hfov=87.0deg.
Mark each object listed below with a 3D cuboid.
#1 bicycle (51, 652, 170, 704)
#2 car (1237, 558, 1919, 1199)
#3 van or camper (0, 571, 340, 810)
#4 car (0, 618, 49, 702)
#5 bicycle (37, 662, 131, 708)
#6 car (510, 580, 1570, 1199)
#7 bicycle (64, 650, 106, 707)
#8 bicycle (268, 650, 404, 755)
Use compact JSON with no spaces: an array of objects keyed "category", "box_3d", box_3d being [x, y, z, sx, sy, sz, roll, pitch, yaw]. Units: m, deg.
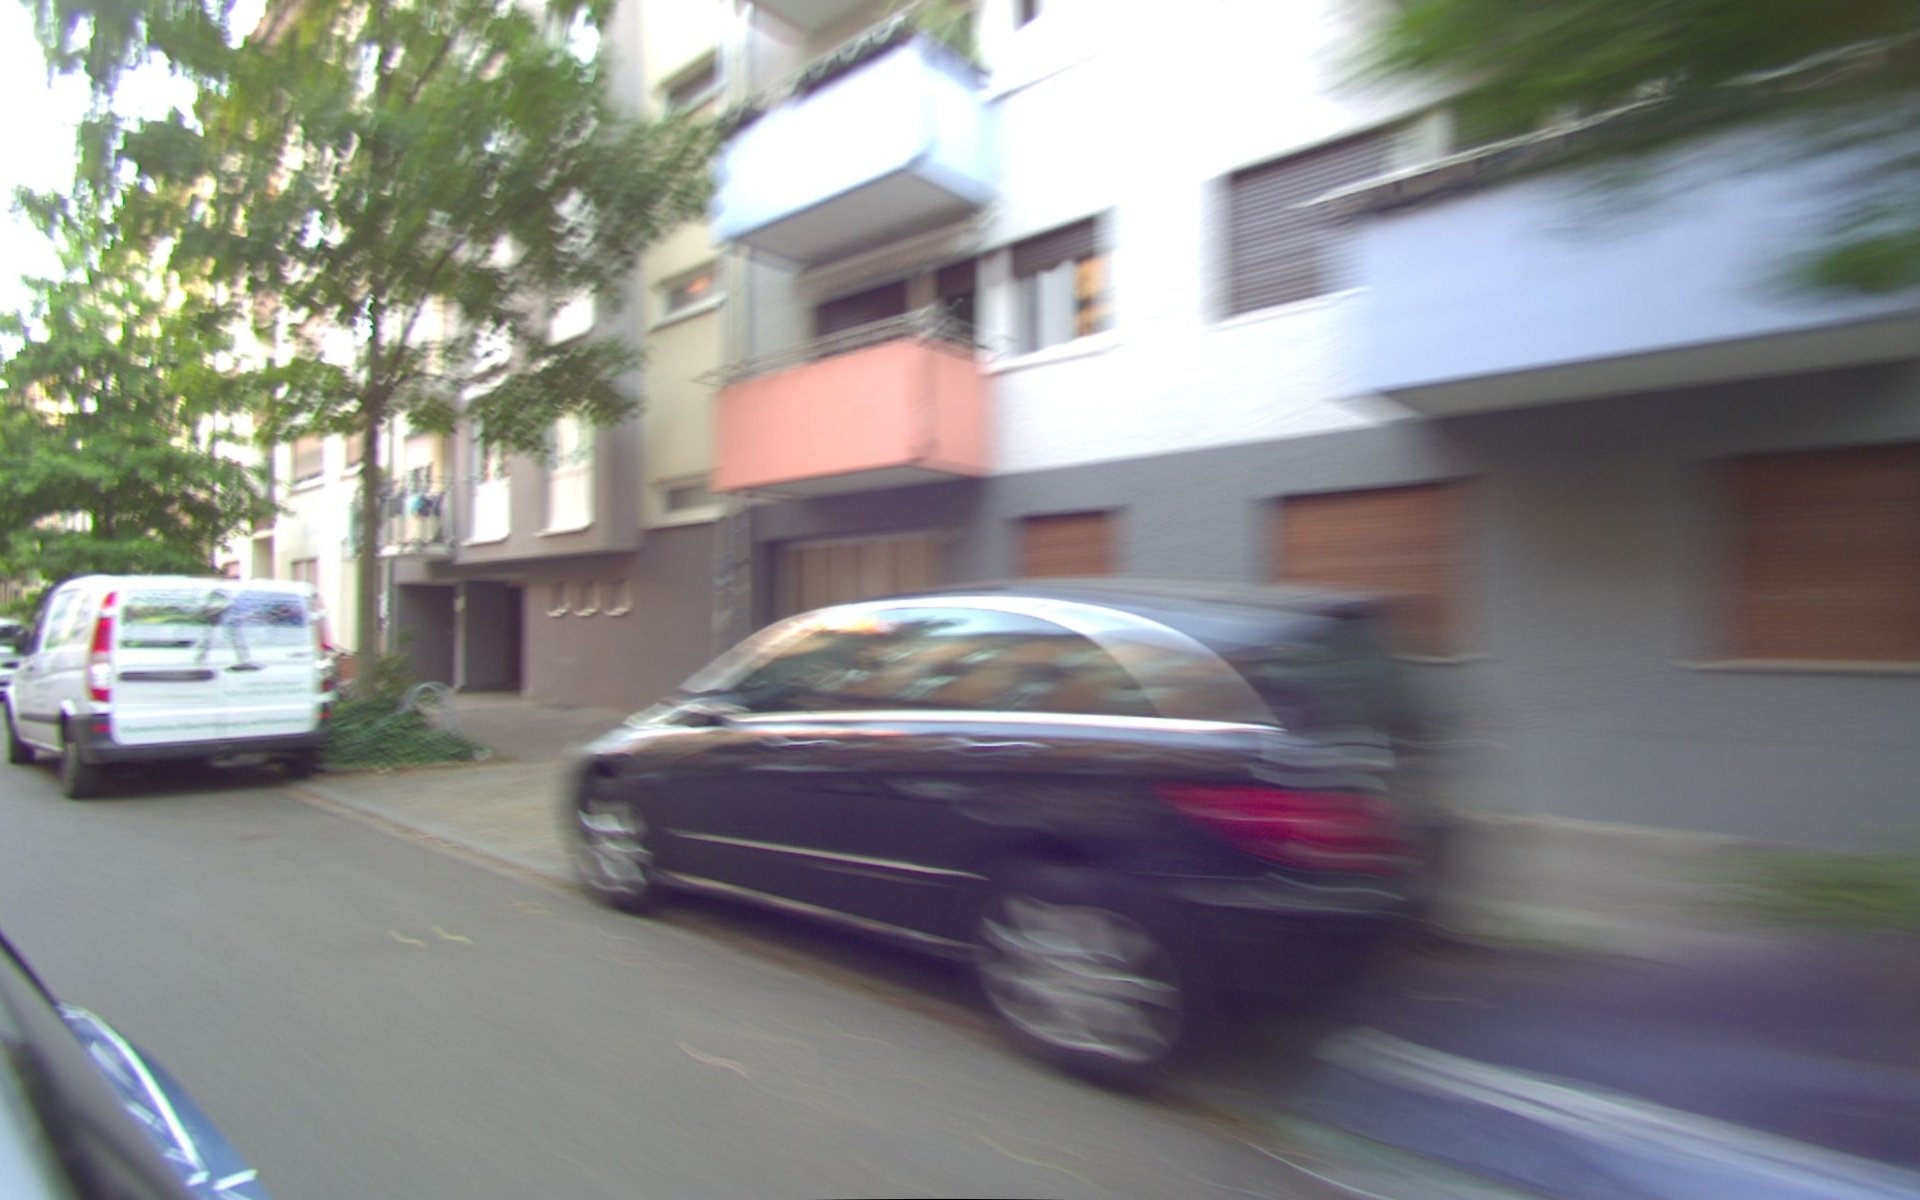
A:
[{"category":"bicycle","box_3d":[-16.895,1.538,20.173,1.702,1.002,0.578,1,-3,-15]},{"category":"car","box_3d":[2.611,0.724,0.378,4.513,1.529,1.811,-1,-3,41]},{"category":"van or camper","box_3d":[-8.146,0.803,10.121,4.748,1.857,1.858,-2,-4,40]},{"category":"car","box_3d":[-19.669,1.163,20.110,3.995,1.575,1.647,-2,-3,38]},{"category":"bicycle","box_3d":[-19.521,1.872,22.591,0.379,0.914,1.698,-1,-2,11]},{"category":"car","box_3d":[-0.076,0.837,4.914,4.919,1.659,1.973,-2,-1,41]},{"category":"bicycle","box_3d":[-18.252,1.622,21.097,1.664,1.112,0.415,-2,-2,41]},{"category":"bicycle","box_3d":[-7.542,1.202,12.338,0.688,1.172,1.825,0,-3,-7]}]
